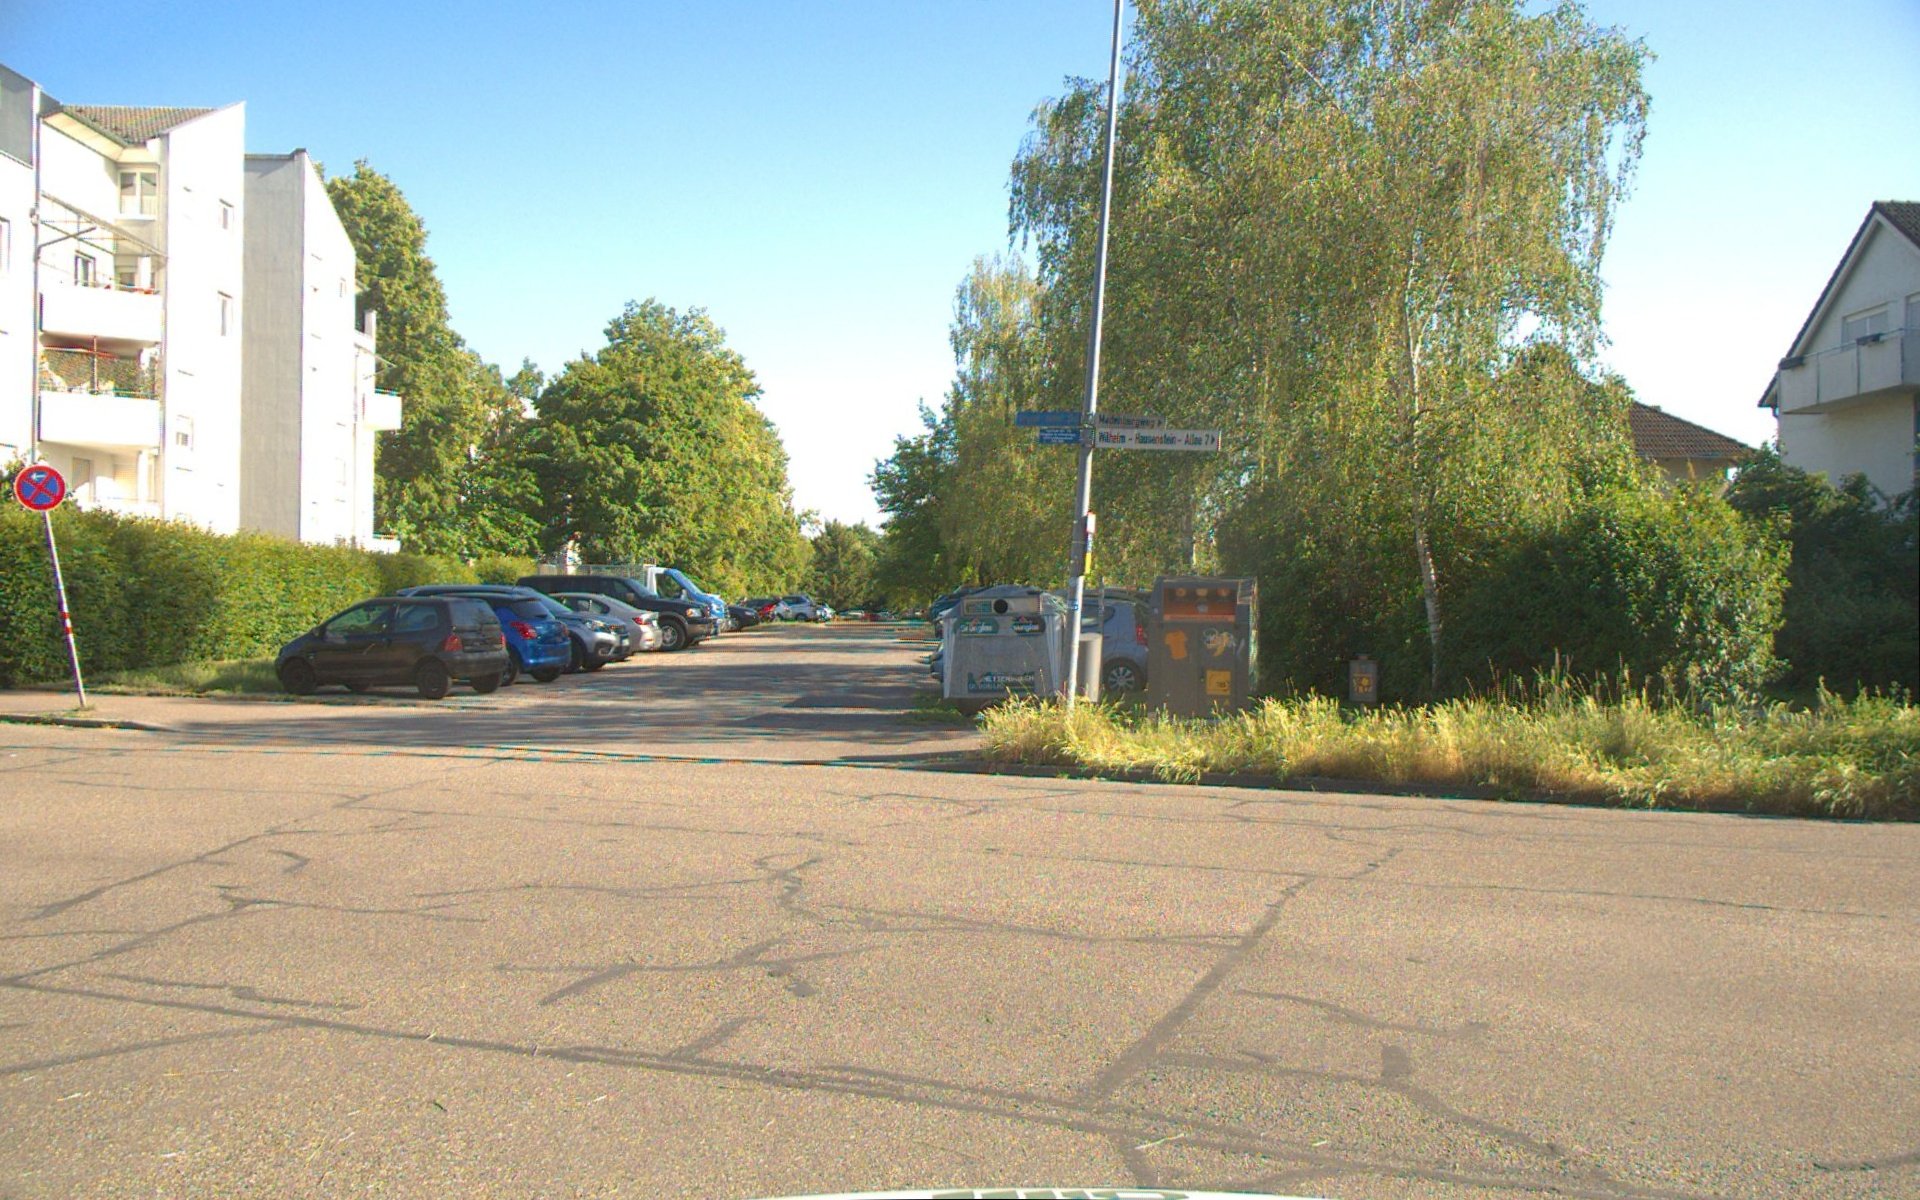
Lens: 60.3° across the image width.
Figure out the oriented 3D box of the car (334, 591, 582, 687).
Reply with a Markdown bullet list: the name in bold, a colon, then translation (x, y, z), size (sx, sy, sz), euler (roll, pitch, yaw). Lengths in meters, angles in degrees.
- **car**: translation (-8.348, 0.628, 27.630), size (3.601, 1.522, 1.652), euler (0, 0, 12)

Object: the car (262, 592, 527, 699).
- **car**: translation (-8.561, 0.652, 25.112), size (3.447, 1.492, 1.705), euler (1, 1, 16)

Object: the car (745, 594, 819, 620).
- **car**: translation (-9.595, 0.384, 89.409), size (3.860, 1.357, 1.846), euler (0, 0, -2)

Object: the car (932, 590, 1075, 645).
- **car**: translation (1.235, 0.483, 46.353), size (3.904, 1.425, 1.798), euler (1, -1, 2)

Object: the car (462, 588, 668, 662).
- **car**: translation (-8.450, 0.526, 35.602), size (4.061, 1.480, 1.618), euler (-1, 0, -3)

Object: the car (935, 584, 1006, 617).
- **car**: translation (0.609, 0.030, 92.608), size (3.904, 1.738, 1.798), euler (1, -1, 2)

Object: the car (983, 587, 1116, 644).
- **car**: translation (2.685, 0.474, 49.773), size (3.904, 1.613, 1.798), euler (1, -1, 2)

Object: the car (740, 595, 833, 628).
- **car**: translation (-7.507, 0.487, 71.782), size (3.860, 1.357, 1.846), euler (0, 0, -2)

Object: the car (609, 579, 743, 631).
- **car**: translation (-10.063, 0.182, 58.795), size (4.429, 1.802, 1.847), euler (0, 0, 0)

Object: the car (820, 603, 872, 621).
- **car**: translation (-8.157, 0.849, 118.521), size (3.571, 1.234, 1.846), euler (0, 0, -2)

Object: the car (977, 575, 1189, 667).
- **car**: translation (2.463, 0.417, 33.756), size (4.026, 1.736, 1.788), euler (1, 1, -8)

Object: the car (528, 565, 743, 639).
- **car**: translation (-9.807, 0.054, 50.498), size (6.131, 2.184, 2.409), euler (0, 0, -3)

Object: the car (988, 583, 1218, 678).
- **car**: translation (2.621, 0.546, 30.777), size (3.975, 1.631, 1.789), euler (1, 1, -7)

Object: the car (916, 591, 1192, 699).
- **car**: translation (1.465, 0.656, 25.197), size (3.966, 1.464, 1.636), euler (2, 0, 12)

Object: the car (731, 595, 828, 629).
- **car**: translation (-7.503, 0.497, 68.977), size (3.860, 1.357, 1.846), euler (0, 0, -2)

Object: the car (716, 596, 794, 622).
- **car**: translation (-10.652, 0.466, 86.163), size (3.860, 1.357, 1.846), euler (0, 0, -2)

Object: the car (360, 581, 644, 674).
- **car**: translation (-8.700, 0.512, 31.618), size (4.886, 1.683, 1.785), euler (0, 0, 4)

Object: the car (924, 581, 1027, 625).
- **car**: translation (0.633, 0.111, 64.049), size (3.904, 1.613, 1.798), euler (1, -1, 2)

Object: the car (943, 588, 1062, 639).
- **car**: translation (1.440, 0.464, 55.643), size (3.904, 1.613, 1.798), euler (1, -1, 2)

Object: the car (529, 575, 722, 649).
- **car**: translation (-8.381, 0.297, 41.670), size (4.427, 1.802, 1.848), euler (0, 0, 4)

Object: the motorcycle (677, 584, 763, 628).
- **motorcycle**: translation (-9.118, 0.222, 62.991), size (3.125, 1.624, 0.923), euler (0, 0, 0)
